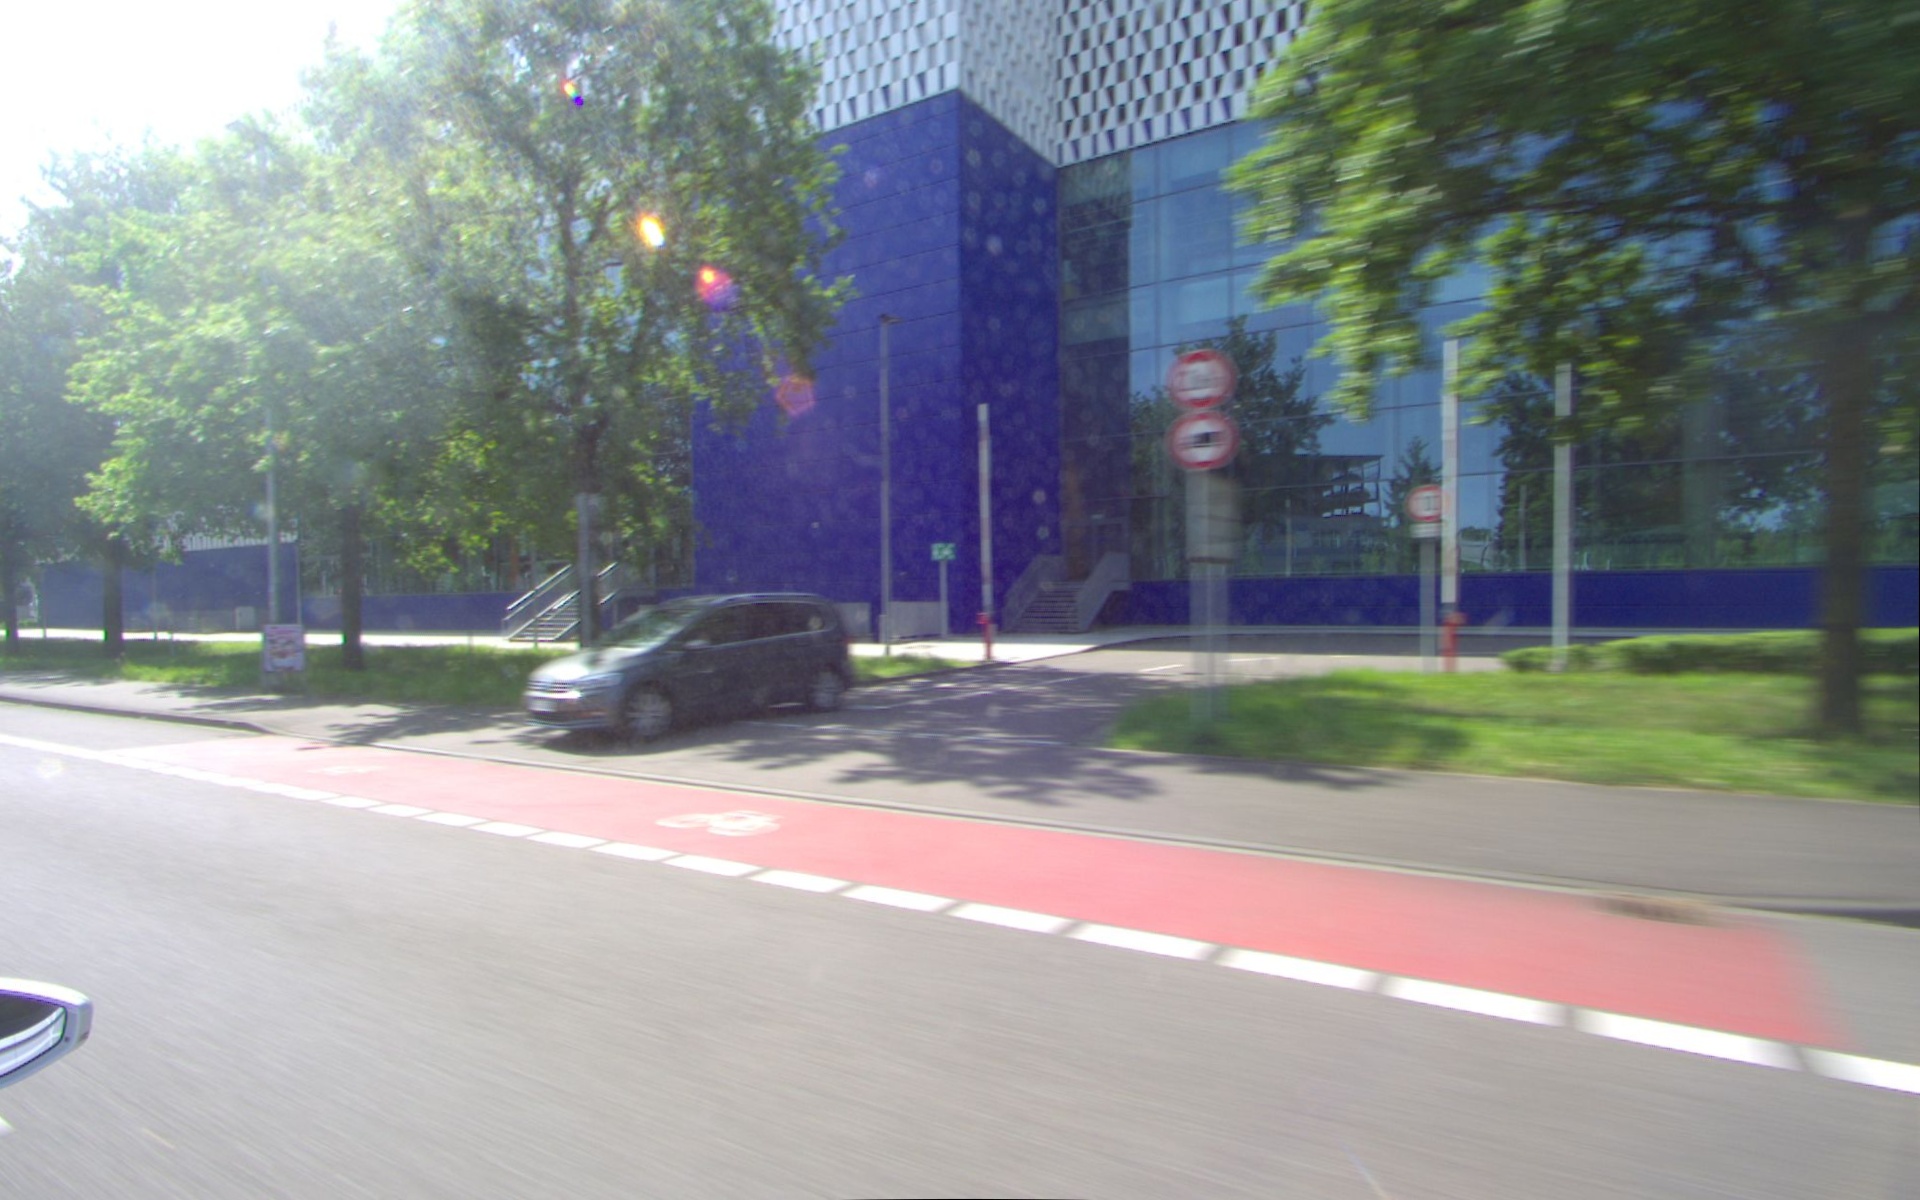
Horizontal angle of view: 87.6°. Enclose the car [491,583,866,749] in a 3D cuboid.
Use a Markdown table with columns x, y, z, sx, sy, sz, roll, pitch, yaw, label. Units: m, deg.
| x | y | z | sx | sy | sz | roll | pitch | yaw | label |
| --- | --- | --- | --- | --- | --- | --- | --- | --- | --- |
| -3.419 | 0.678 | 12.949 | 1.822 | 1.716 | 4.424 | 0 | 1 | 39 | car |
